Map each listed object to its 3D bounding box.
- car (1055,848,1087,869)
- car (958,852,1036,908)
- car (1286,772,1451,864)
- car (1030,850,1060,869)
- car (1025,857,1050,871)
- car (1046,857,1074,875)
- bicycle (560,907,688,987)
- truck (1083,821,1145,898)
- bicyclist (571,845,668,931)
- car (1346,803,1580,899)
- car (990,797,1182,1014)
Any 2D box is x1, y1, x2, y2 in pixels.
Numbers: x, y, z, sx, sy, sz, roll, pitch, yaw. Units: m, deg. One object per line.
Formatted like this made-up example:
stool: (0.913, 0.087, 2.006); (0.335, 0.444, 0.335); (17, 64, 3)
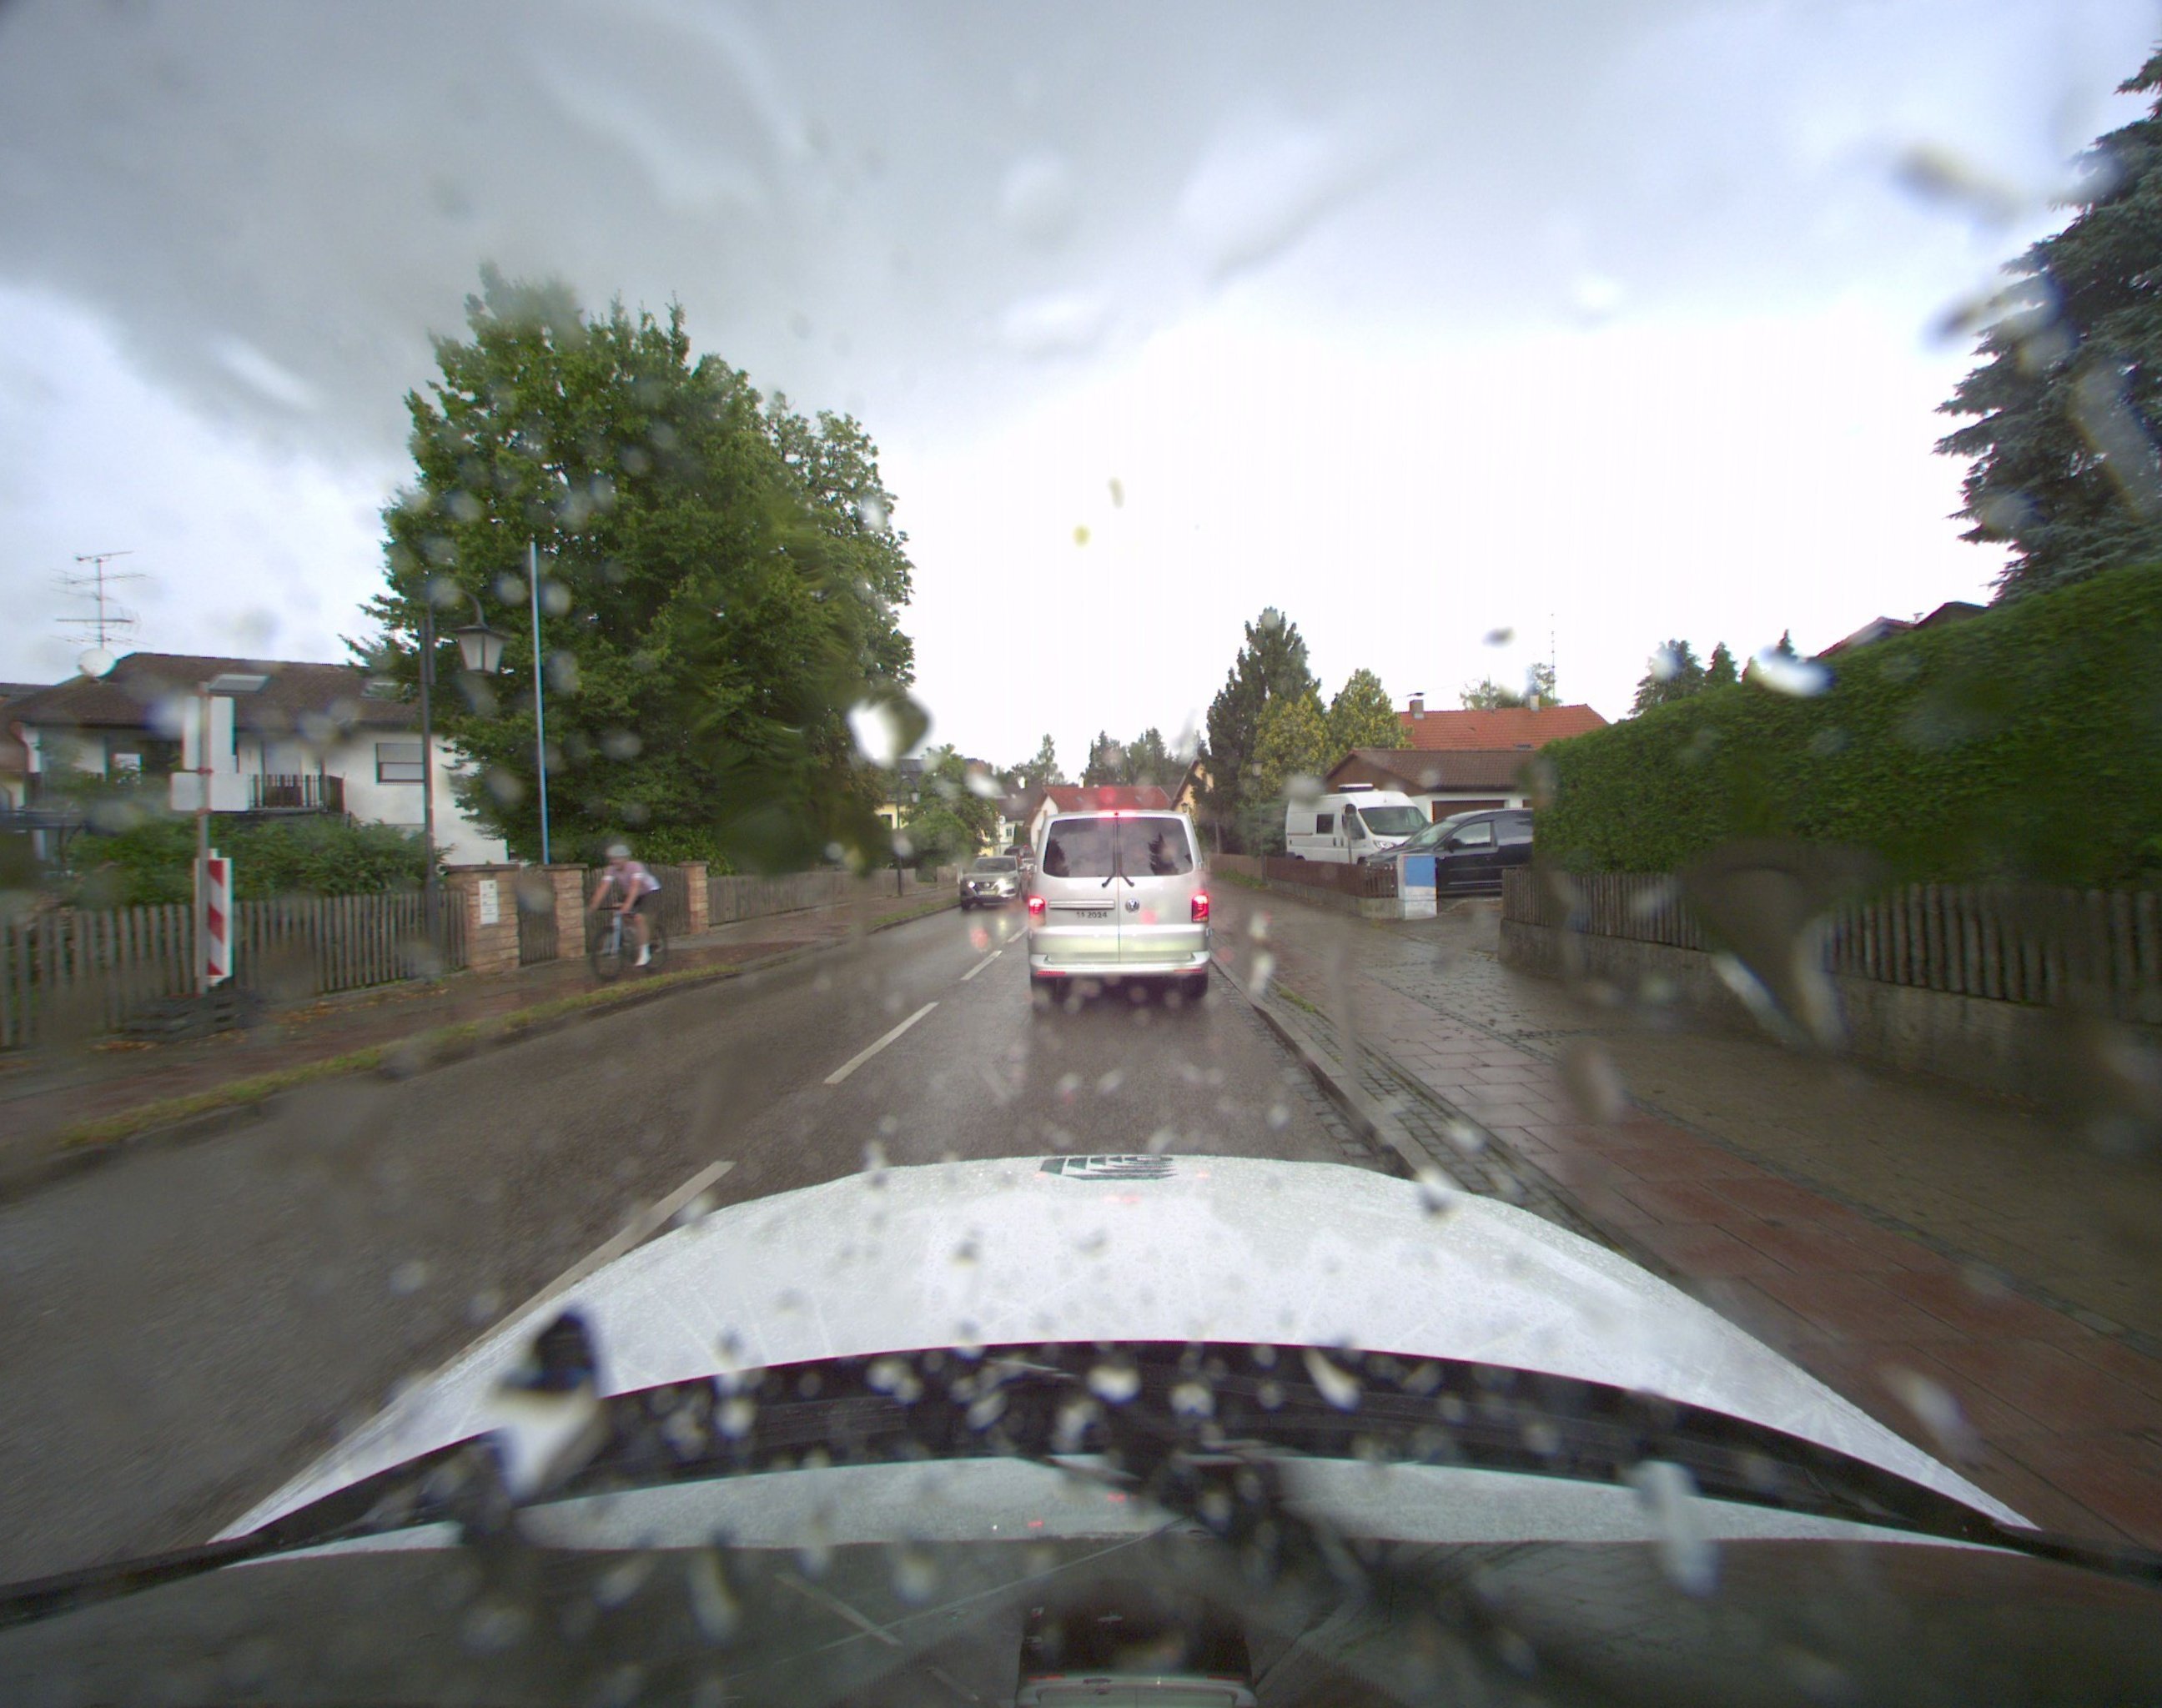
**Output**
car: (-1.005, 0.455, 79.041); (2.000, 2.014, 3.974); (0, -1, -19)
car: (-2.544, 0.792, 25.657); (1.820, 1.558, 4.179); (-2, -1, 2)
car: (7.552, -0.833, 22.022); (1.994, 2.173, 4.933); (0, -1, -11)
car: (-3.817, 0.586, 85.798); (2.001, 2.014, 3.972); (0, -1, -21)
car: (-4.097, 0.922, 76.203); (1.782, 1.310, 3.759); (0, -1, -13)
car: (-1.489, 0.869, 59.686); (1.773, 1.310, 3.777); (0, -1, 2)
bicycle: (-5.774, 1.138, 10.422); (0.454, 0.798, 1.978); (-1, 0, 2)
truck: (1.401, 0.272, 35.507); (2.466, 3.074, 6.298); (0, -1, 2)
bicyclist: (-5.797, 0.406, 10.282); (0.585, 1.021, 1.061); (-1, 0, 2)
car: (7.851, -0.085, 16.961); (4.082, 1.751, 1.694); (-2, 2, -2)
car: (0.202, 0.504, 9.630); (1.792, 2.014, 4.005); (0, -1, 5)
